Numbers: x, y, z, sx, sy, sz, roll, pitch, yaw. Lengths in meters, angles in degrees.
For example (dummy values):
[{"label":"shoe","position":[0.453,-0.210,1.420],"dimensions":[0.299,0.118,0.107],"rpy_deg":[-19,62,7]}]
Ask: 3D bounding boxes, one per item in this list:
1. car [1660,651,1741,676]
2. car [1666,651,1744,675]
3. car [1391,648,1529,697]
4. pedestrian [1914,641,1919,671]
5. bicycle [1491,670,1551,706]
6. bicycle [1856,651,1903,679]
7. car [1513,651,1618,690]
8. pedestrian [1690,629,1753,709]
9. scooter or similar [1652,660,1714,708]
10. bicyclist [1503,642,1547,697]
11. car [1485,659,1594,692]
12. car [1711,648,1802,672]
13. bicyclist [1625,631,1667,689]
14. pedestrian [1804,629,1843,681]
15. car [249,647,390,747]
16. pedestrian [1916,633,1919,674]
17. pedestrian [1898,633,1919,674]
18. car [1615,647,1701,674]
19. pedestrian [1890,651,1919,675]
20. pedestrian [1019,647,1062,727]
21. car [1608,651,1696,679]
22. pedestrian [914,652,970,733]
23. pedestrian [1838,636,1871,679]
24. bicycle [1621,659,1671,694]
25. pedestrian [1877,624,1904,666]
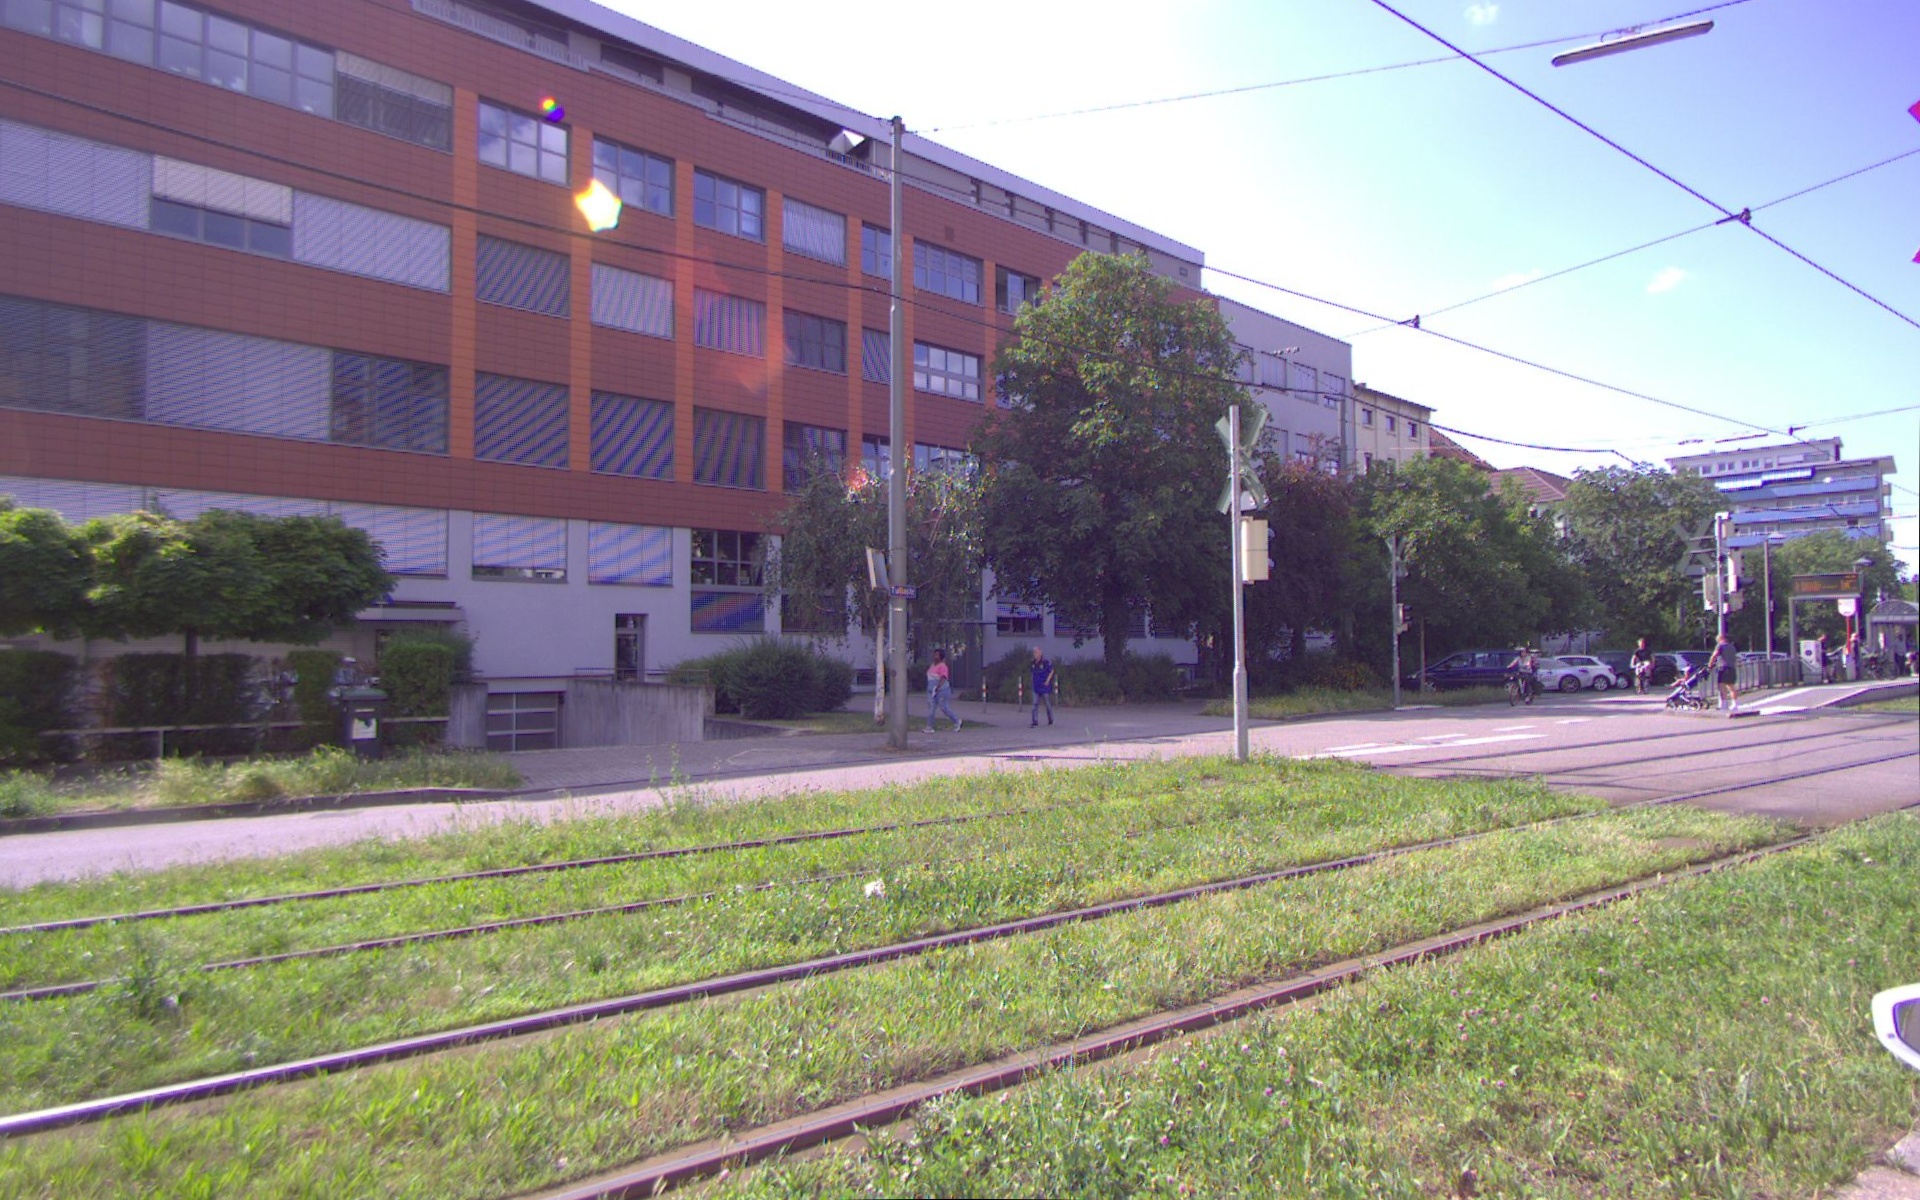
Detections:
[{"label":"car","position":[40.340,3.458,54.770],"dimensions":[3.181,1.326,1.457],"rpy_deg":[-1,-3,6]},{"label":"car","position":[42.113,3.550,56.839],"dimensions":[3.181,1.326,1.457],"rpy_deg":[-1,-3,6]},{"label":"car","position":[17.790,2.590,35.925],"dimensions":[4.049,1.662,1.727],"rpy_deg":[-1,-3,12]},{"label":"pedestrian","position":[47.491,2.744,49.609],"dimensions":[0.482,1.470,0.461],"rpy_deg":[-4,-4,42]},{"label":"bicycle","position":[16.716,2.606,29.920],"dimensions":[2.157,0.983,0.676],"rpy_deg":[2,-4,-35]},{"label":"bicycle","position":[33.871,2.386,37.009],"dimensions":[1.749,0.987,0.683],"rpy_deg":[1,-5,-29]},{"label":"car","position":[24.810,2.894,41.240],"dimensions":[3.320,1.524,1.546],"rpy_deg":[-1,-3,14]},{"label":"pedestrian","position":[17.549,1.595,23.162],"dimensions":[0.996,1.798,0.864],"rpy_deg":[2,-6,-41]},{"label":"scooter or similar","position":[16.940,1.960,23.528],"dimensions":[0.790,1.078,0.947],"rpy_deg":[2,-6,-39]},{"label":"bicyclist","position":[16.854,2.059,29.975],"dimensions":[0.855,1.602,0.780],"rpy_deg":[1,-4,-35]},{"label":"car","position":[22.637,2.944,39.347],"dimensions":[3.320,1.252,1.546],"rpy_deg":[-1,-3,12]},{"label":"car","position":[48.124,3.631,60.765],"dimensions":[3.919,1.385,1.718],"rpy_deg":[-2,-4,11]},{"label":"bicyclist","position":[24.473,2.129,35.842],"dimensions":[0.938,2.040,1.567],"rpy_deg":[-3,-4,44]},{"label":"pedestrian","position":[29.681,1.887,34.526],"dimensions":[0.654,1.749,0.715],"rpy_deg":[-1,-3,4]},{"label":"car","position":[-11.885,1.701,18.540],"dimensions":[1.980,1.616,3.962],"rpy_deg":[2,-4,-35]},{"label":"pedestrian","position":[42.982,2.373,44.557],"dimensions":[0.631,1.789,0.601],"rpy_deg":[1,-3,-29]},{"label":"pedestrian","position":[41.914,2.360,44.317],"dimensions":[0.551,1.758,0.590],"rpy_deg":[1,-4,-34]},{"label":"car","position":[35.229,3.061,50.749],"dimensions":[3.181,1.326,1.457],"rpy_deg":[-1,-3,6]},{"label":"pedestrian","position":[40.117,2.663,42.525],"dimensions":[0.790,1.001,0.918],"rpy_deg":[3,-6,-36]},{"label":"pedestrian","position":[1.733,1.855,21.614],"dimensions":[0.738,1.678,0.554],"rpy_deg":[1,-4,-30]},{"label":"car","position":[33.573,3.156,48.807],"dimensions":[3.181,1.326,1.457],"rpy_deg":[-1,-3,3]},{"label":"pedestrian","position":[-0.367,1.859,20.267],"dimensions":[0.879,1.594,0.742],"rpy_deg":[3,-4,-30]},{"label":"pedestrian","position":[33.586,2.145,37.718],"dimensions":[0.678,1.589,0.660],"rpy_deg":[1,-5,-31]},{"label":"bicycle","position":[24.460,2.717,35.820],"dimensions":[1.142,1.193,1.777],"rpy_deg":[-5,-6,44]},{"label":"pedestrian","position":[38.719,1.891,41.784],"dimensions":[0.650,1.714,0.650],"rpy_deg":[2,-4,-38]}]
